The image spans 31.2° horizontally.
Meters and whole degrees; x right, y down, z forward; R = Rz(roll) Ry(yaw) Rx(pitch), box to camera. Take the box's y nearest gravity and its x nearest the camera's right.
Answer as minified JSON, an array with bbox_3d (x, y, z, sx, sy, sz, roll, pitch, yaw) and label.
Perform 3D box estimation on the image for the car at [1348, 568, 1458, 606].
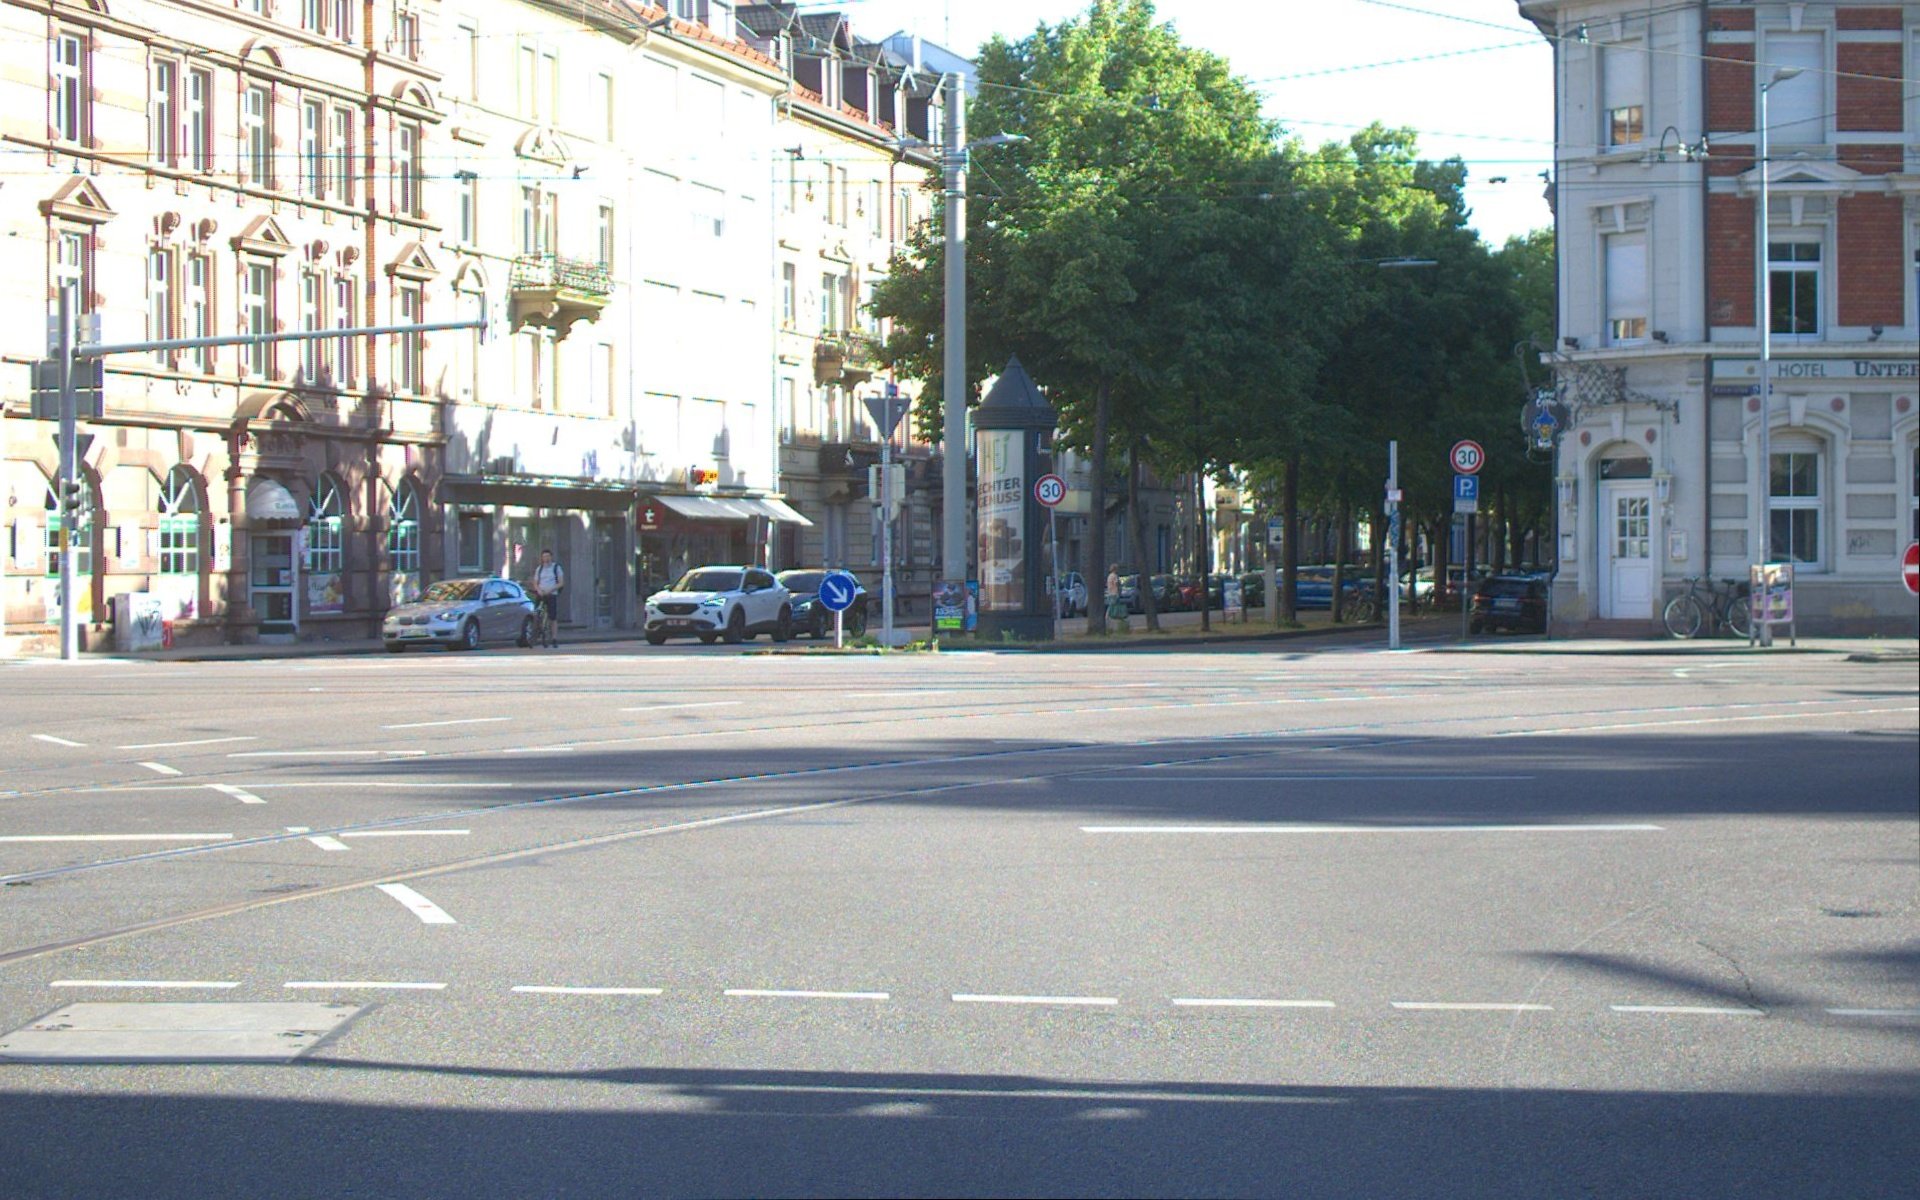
[{"bbox_3d":[14.362,-0.425,111.476,3.435,1.235,1.576,0,1,11],"label":"car"}]

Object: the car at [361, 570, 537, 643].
[{"bbox_3d":[-9.927,0.104,67.053,1.995,1.357,3.816,0,1,16],"label":"car"}]

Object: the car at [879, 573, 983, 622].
[{"bbox_3d":[-0.844,-0.089,102.100,1.995,1.400,4.166,0,1,16],"label":"car"}]

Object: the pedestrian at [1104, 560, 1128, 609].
[{"bbox_3d":[4.448,-0.446,98.194,0.547,1.380,0.625,0,1,16],"label":"pedestrian"}]

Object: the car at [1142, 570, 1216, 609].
[{"bbox_3d":[8.403,-0.413,131.416,1.995,1.400,4.166,0,1,16],"label":"car"}]

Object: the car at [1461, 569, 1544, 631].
[{"bbox_3d":[13.047,-0.022,82.538,1.756,1.415,3.998,0,1,12],"label":"car"}]

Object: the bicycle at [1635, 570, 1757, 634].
[{"bbox_3d":[12.270,0.028,57.352,1.953,1.050,0.715,0,1,10],"label":"bicycle"}]

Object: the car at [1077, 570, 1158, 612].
[{"bbox_3d":[5.651,-0.336,122.588,1.995,1.400,4.166,0,1,16],"label":"car"}]

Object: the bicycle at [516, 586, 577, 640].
[{"bbox_3d":[-7.847,0.234,65.310,0.655,0.997,1.664,1,1,12],"label":"bicycle"}]

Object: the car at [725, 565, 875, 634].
[{"bbox_3d":[-3.399,-0.038,73.653,1.995,1.400,4.166,0,1,16],"label":"car"}]

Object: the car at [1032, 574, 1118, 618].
[{"bbox_3d":[3.938,-0.147,116.870,1.995,1.400,4.166,0,1,16],"label":"car"}]

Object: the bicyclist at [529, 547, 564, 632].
[{"bbox_3d":[-7.839,-0.200,65.203,0.489,1.596,0.666,0,1,10],"label":"bicyclist"}]

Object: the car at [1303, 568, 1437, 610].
[{"bbox_3d":[12.576,-0.344,105.403,3.989,1.284,1.694,0,1,11],"label":"car"}]

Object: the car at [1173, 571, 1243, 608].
[{"bbox_3d":[9.880,-0.445,136.613,1.995,1.400,4.166,0,1,16],"label":"car"}]

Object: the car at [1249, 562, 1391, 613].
[{"bbox_3d":[10.447,-0.358,99.694,3.989,1.450,1.681,0,1,11],"label":"car"}]

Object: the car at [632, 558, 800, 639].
[{"bbox_3d":[-4.752,-0.051,67.480,1.995,1.511,4.166,0,1,16],"label":"car"}]
